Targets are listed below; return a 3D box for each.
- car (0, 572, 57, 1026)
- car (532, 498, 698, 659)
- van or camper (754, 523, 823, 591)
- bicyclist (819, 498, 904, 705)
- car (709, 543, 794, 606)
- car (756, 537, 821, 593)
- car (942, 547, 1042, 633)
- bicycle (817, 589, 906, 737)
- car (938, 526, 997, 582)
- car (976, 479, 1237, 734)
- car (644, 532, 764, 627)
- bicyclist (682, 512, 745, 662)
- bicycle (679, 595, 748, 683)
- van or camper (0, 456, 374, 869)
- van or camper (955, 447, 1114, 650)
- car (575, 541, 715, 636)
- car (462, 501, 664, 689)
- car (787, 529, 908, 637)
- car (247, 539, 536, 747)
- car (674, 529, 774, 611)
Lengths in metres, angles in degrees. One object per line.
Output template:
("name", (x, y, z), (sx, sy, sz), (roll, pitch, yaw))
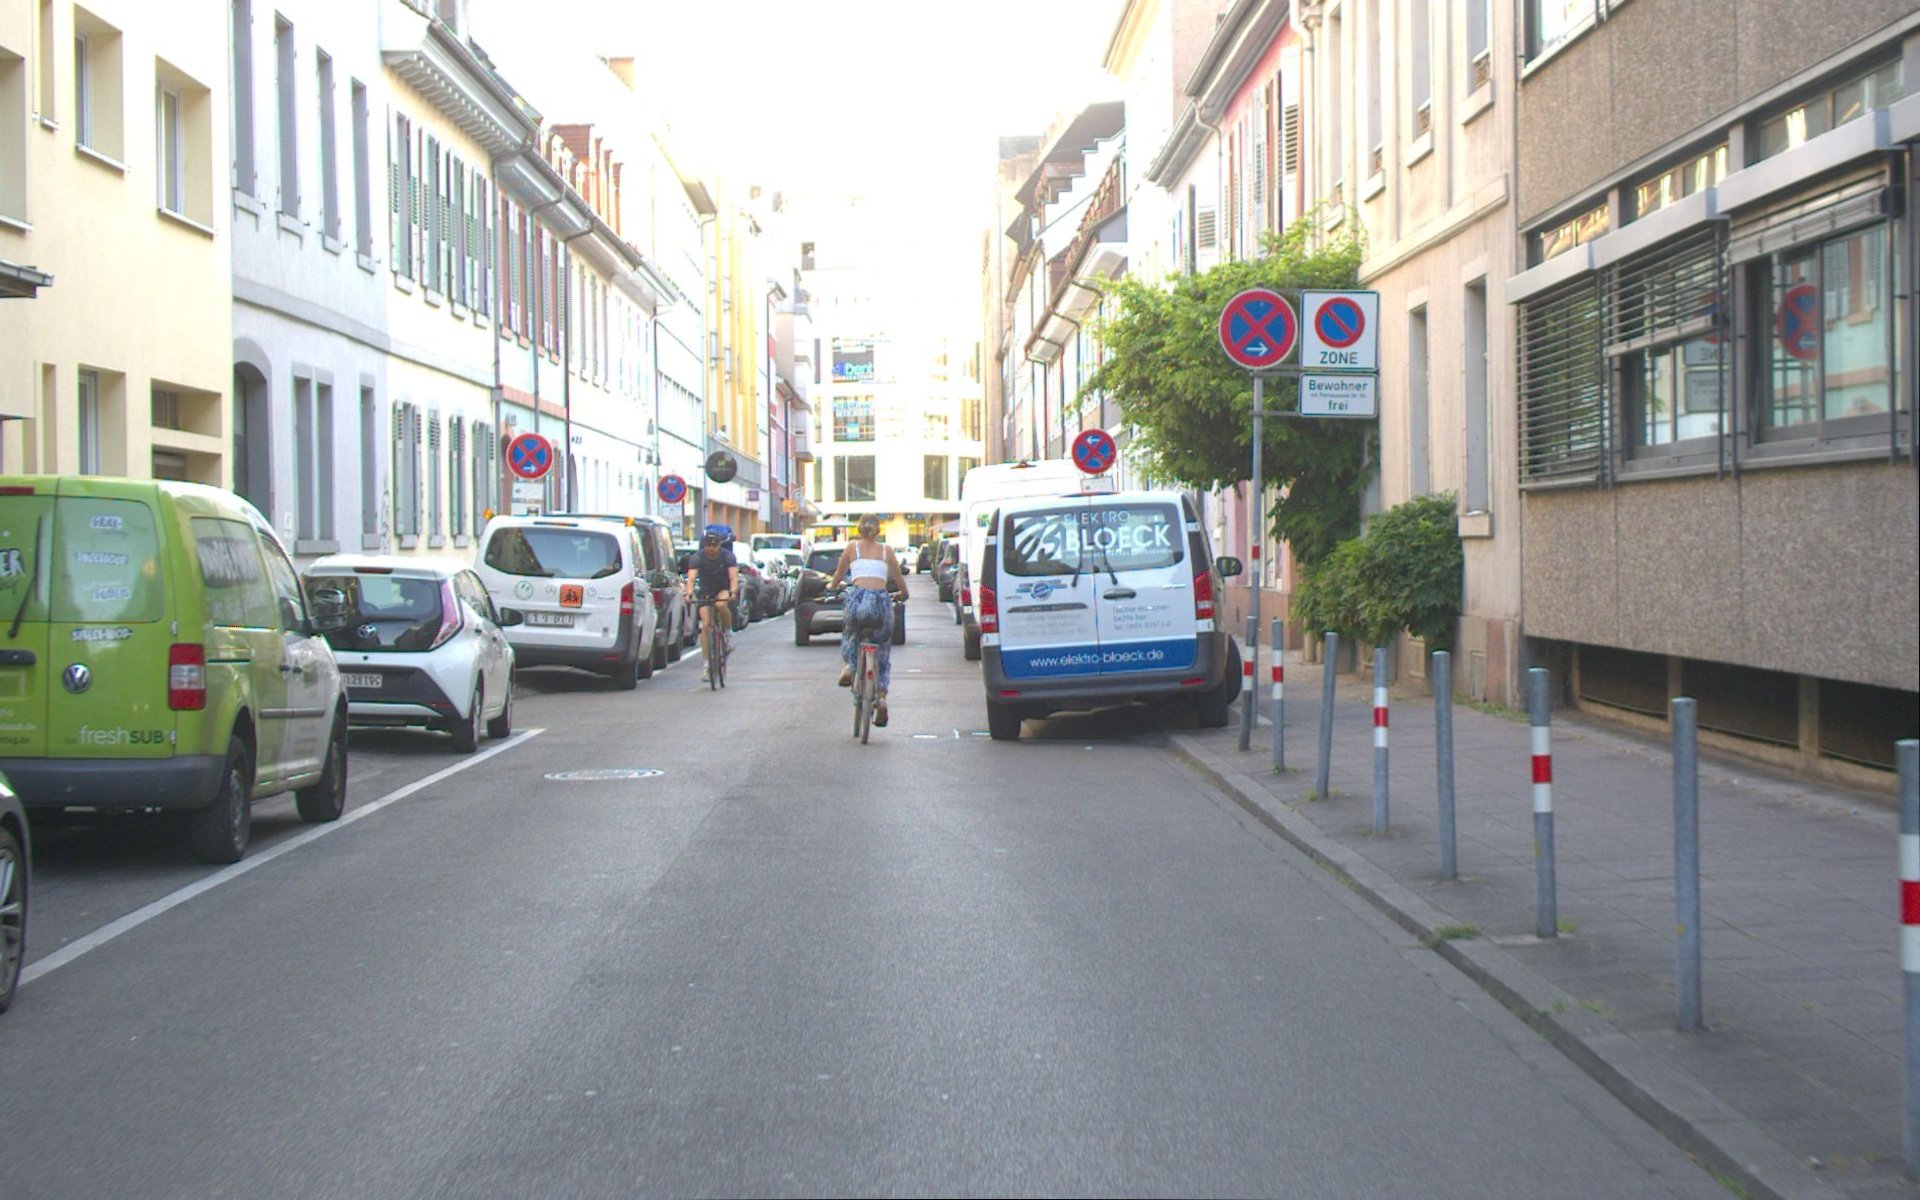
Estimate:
("car", (-3.760, 0.638, 9.476), (1.624, 1.411, 3.981), (0, 1, -2))
("car", (-4.547, -0.314, 45.920), (1.862, 2.007, 4.814), (-1, 1, -2))
("van or camper", (-5.154, -1.312, 103.823), (1.844, 2.006, 4.678), (1, 1, 0))
("bicyclist", (-0.755, 0.007, 26.432), (0.621, 1.569, 0.683), (0, 1, 1))
("car", (-4.906, -0.633, 81.357), (1.918, 1.429, 4.294), (1, 1, -2))
("car", (-4.869, -1.016, 97.979), (1.653, 1.555, 3.606), (1, 1, 0))
("car", (0.648, -0.228, 68.517), (1.819, 1.525, 5.071), (-4, 1, 1))
("bicycle", (-0.749, 0.464, 26.441), (0.613, 1.078, 1.809), (0, 1, 0))
("car", (0.200, -1.313, 98.084), (1.653, 1.555, 3.606), (1, 1, 0))
("car", (1.202, -0.003, 28.574), (1.936, 1.891, 5.276), (-1, 1, 2))
("car", (-4.713, -0.406, 63.812), (1.803, 1.671, 4.490), (-1, 1, 1))
("bicyclist", (-2.720, -0.145, 38.014), (0.623, 1.634, 1.081), (0, 1, 0))
("bicycle", (-2.715, 0.423, 37.989), (0.634, 0.919, 1.779), (0, 1, 0))
("van or camper", (-4.259, 0.251, 17.524), (1.772, 1.842, 4.178), (-1, 1, 0))
("van or camper", (1.003, -0.743, 48.572), (2.050, 2.628, 7.063), (-1, 1, 0))
("car", (-4.831, -0.201, 53.202), (1.765, 1.397, 4.263), (0, 1, 0))
("car", (-4.514, -0.105, 39.744), (1.862, 2.007, 5.107), (-1, 1, -2))
("car", (-1.737, -0.291, 54.103), (1.819, 1.612, 4.000), (1, 1, -1))
("car", (-4.374, 0.289, 26.889), (1.662, 1.444, 3.521), (3, 1, -1))
("car", (-5.103, -0.670, 74.962), (1.997, 1.701, 4.536), (1, 1, -2))
